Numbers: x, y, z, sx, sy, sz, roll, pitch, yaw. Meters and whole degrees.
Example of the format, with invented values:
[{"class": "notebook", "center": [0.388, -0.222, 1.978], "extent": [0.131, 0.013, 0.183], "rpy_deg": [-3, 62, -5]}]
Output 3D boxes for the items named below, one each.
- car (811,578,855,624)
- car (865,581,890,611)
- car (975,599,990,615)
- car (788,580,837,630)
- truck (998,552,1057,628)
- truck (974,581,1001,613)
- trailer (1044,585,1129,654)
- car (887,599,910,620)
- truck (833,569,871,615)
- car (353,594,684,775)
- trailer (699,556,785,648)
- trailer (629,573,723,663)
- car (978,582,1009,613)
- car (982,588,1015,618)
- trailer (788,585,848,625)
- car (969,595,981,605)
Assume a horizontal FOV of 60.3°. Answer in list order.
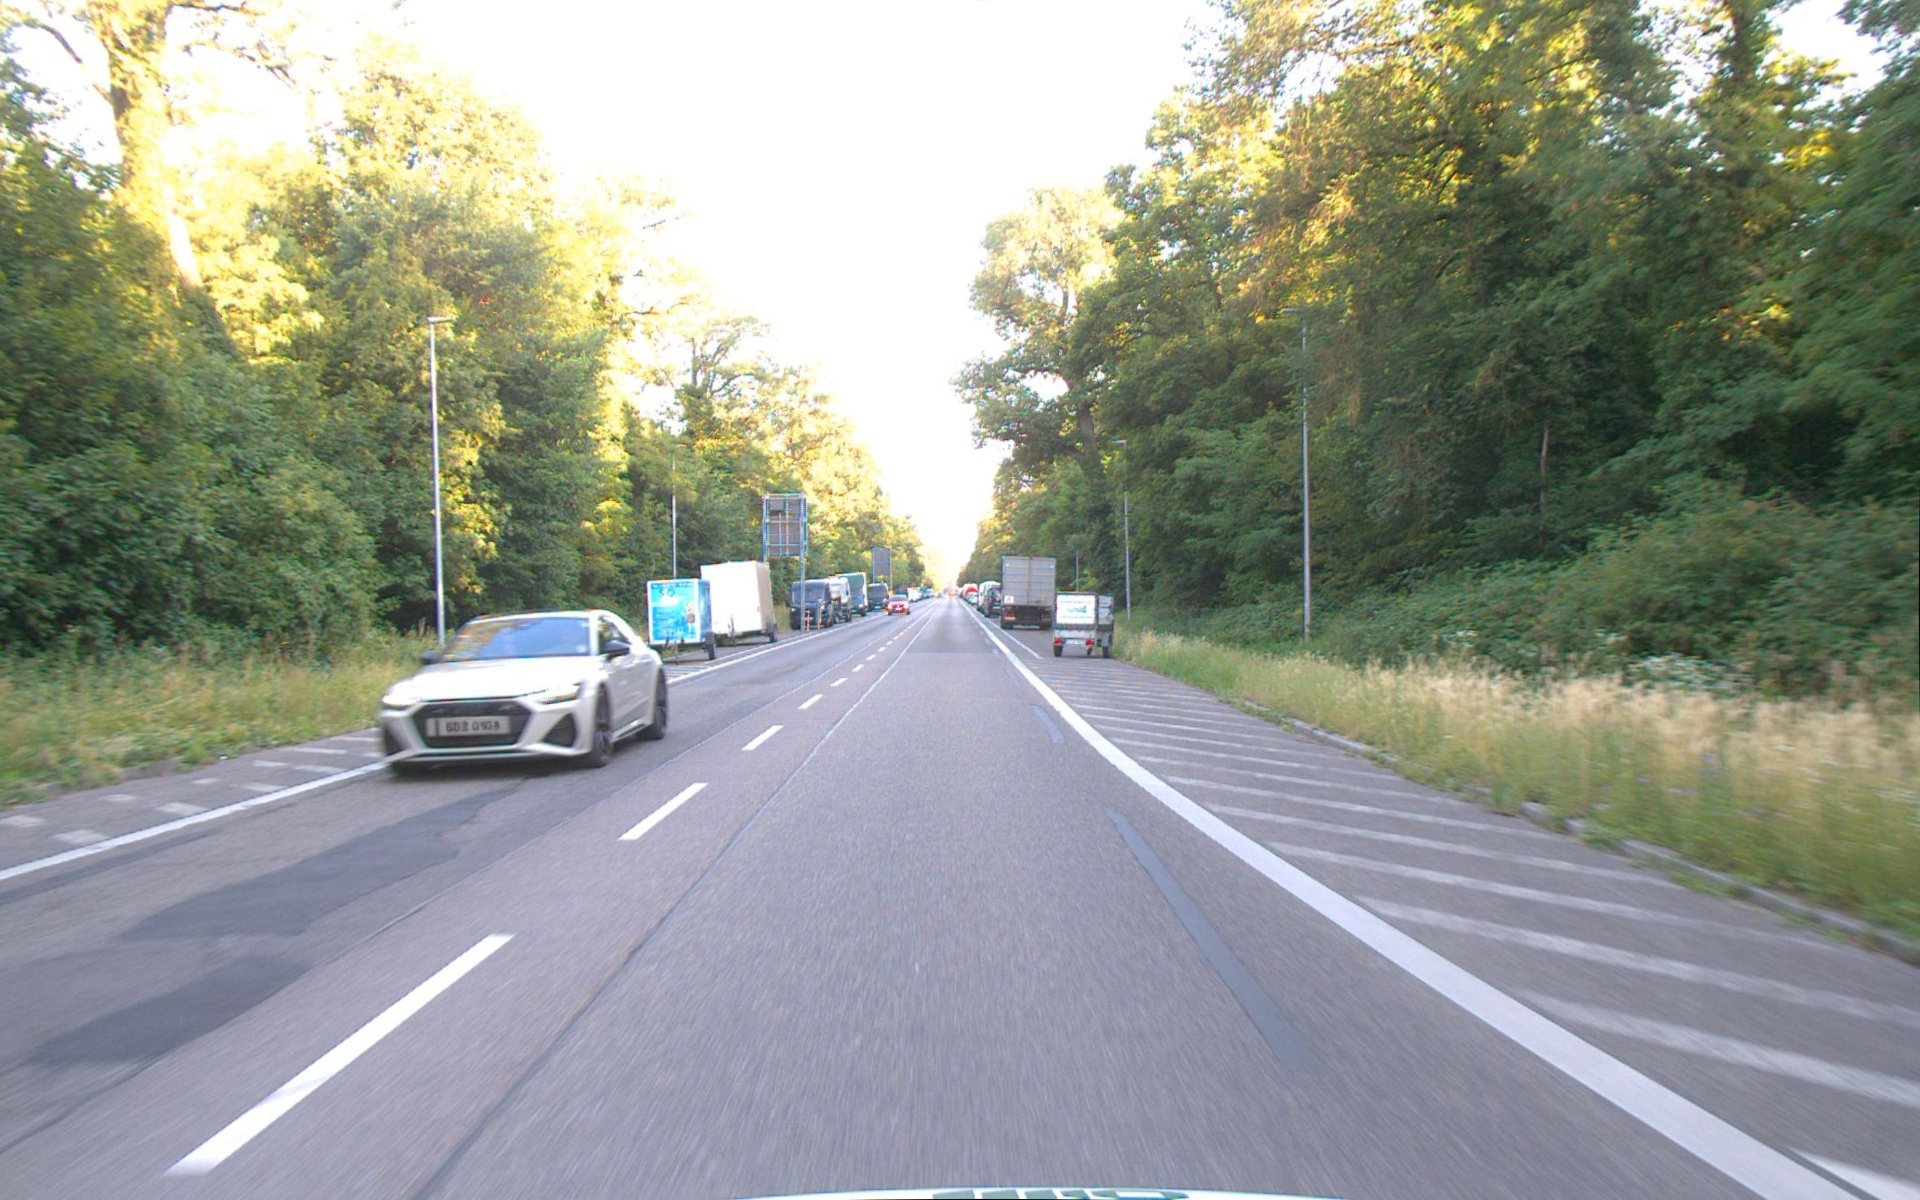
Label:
[{"class": "car", "center": [-7.784, 0.059, 101.793], "extent": [2.203, 2.694, 5.720], "rpy_deg": [-2, 0, -1]}, {"class": "car", "center": [-8.034, -0.404, 162.010], "extent": [2.142, 2.837, 5.333], "rpy_deg": [-2, 0, -1]}, {"class": "car", "center": [1.977, 0.638, 148.161], "extent": [1.124, 1.273, 2.752], "rpy_deg": [-4, 1, -3]}, {"class": "car", "center": [-7.580, 0.227, 85.431], "extent": [1.953, 2.405, 5.765], "rpy_deg": [-3, 0, -1]}, {"class": "truck", "center": [3.033, -0.427, 75.632], "extent": [2.535, 3.312, 7.221], "rpy_deg": [0, 0, 1]}, {"class": "truck", "center": [2.354, -0.225, 141.811], "extent": [2.098, 2.706, 4.297], "rpy_deg": [0, 0, -3]}, {"class": "trailer", "center": [3.356, 0.474, 43.252], "extent": [1.425, 1.691, 3.779], "rpy_deg": [-2, 0, 16]}, {"class": "car", "center": [-4.714, 0.683, 126.463], "extent": [1.648, 1.512, 4.036], "rpy_deg": [-2, 0, -1]}, {"class": "truck", "center": [-8.248, -0.621, 127.029], "extent": [2.453, 3.387, 6.841], "rpy_deg": [-2, 0, -1]}, {"class": "car", "center": [-4.137, 0.718, 16.337], "extent": [2.021, 1.460, 4.465], "rpy_deg": [-2, 0, 0]}, {"class": "trailer", "center": [-7.703, 0.057, 58.935], "extent": [2.279, 2.975, 5.626], "rpy_deg": [-3, 0, -1]}, {"class": "trailer", "center": [-7.371, 0.440, 43.328], "extent": [1.780, 2.205, 4.142], "rpy_deg": [-2, 0, -1]}, {"class": "car", "center": [2.598, -0.193, 128.798], "extent": [2.098, 2.354, 4.297], "rpy_deg": [0, 0, -3]}, {"class": "car", "center": [2.531, 0.195, 109.532], "extent": [1.954, 1.989, 4.297], "rpy_deg": [0, 0, -3]}, {"class": "trailer", "center": [-8.212, 0.286, 96.260], "extent": [1.922, 2.192, 3.930], "rpy_deg": [-2, 0, 21]}, {"class": "car", "center": [1.833, 0.041, 206.765], "extent": [1.398, 1.243, 3.411], "rpy_deg": [0, 0, 0]}]
